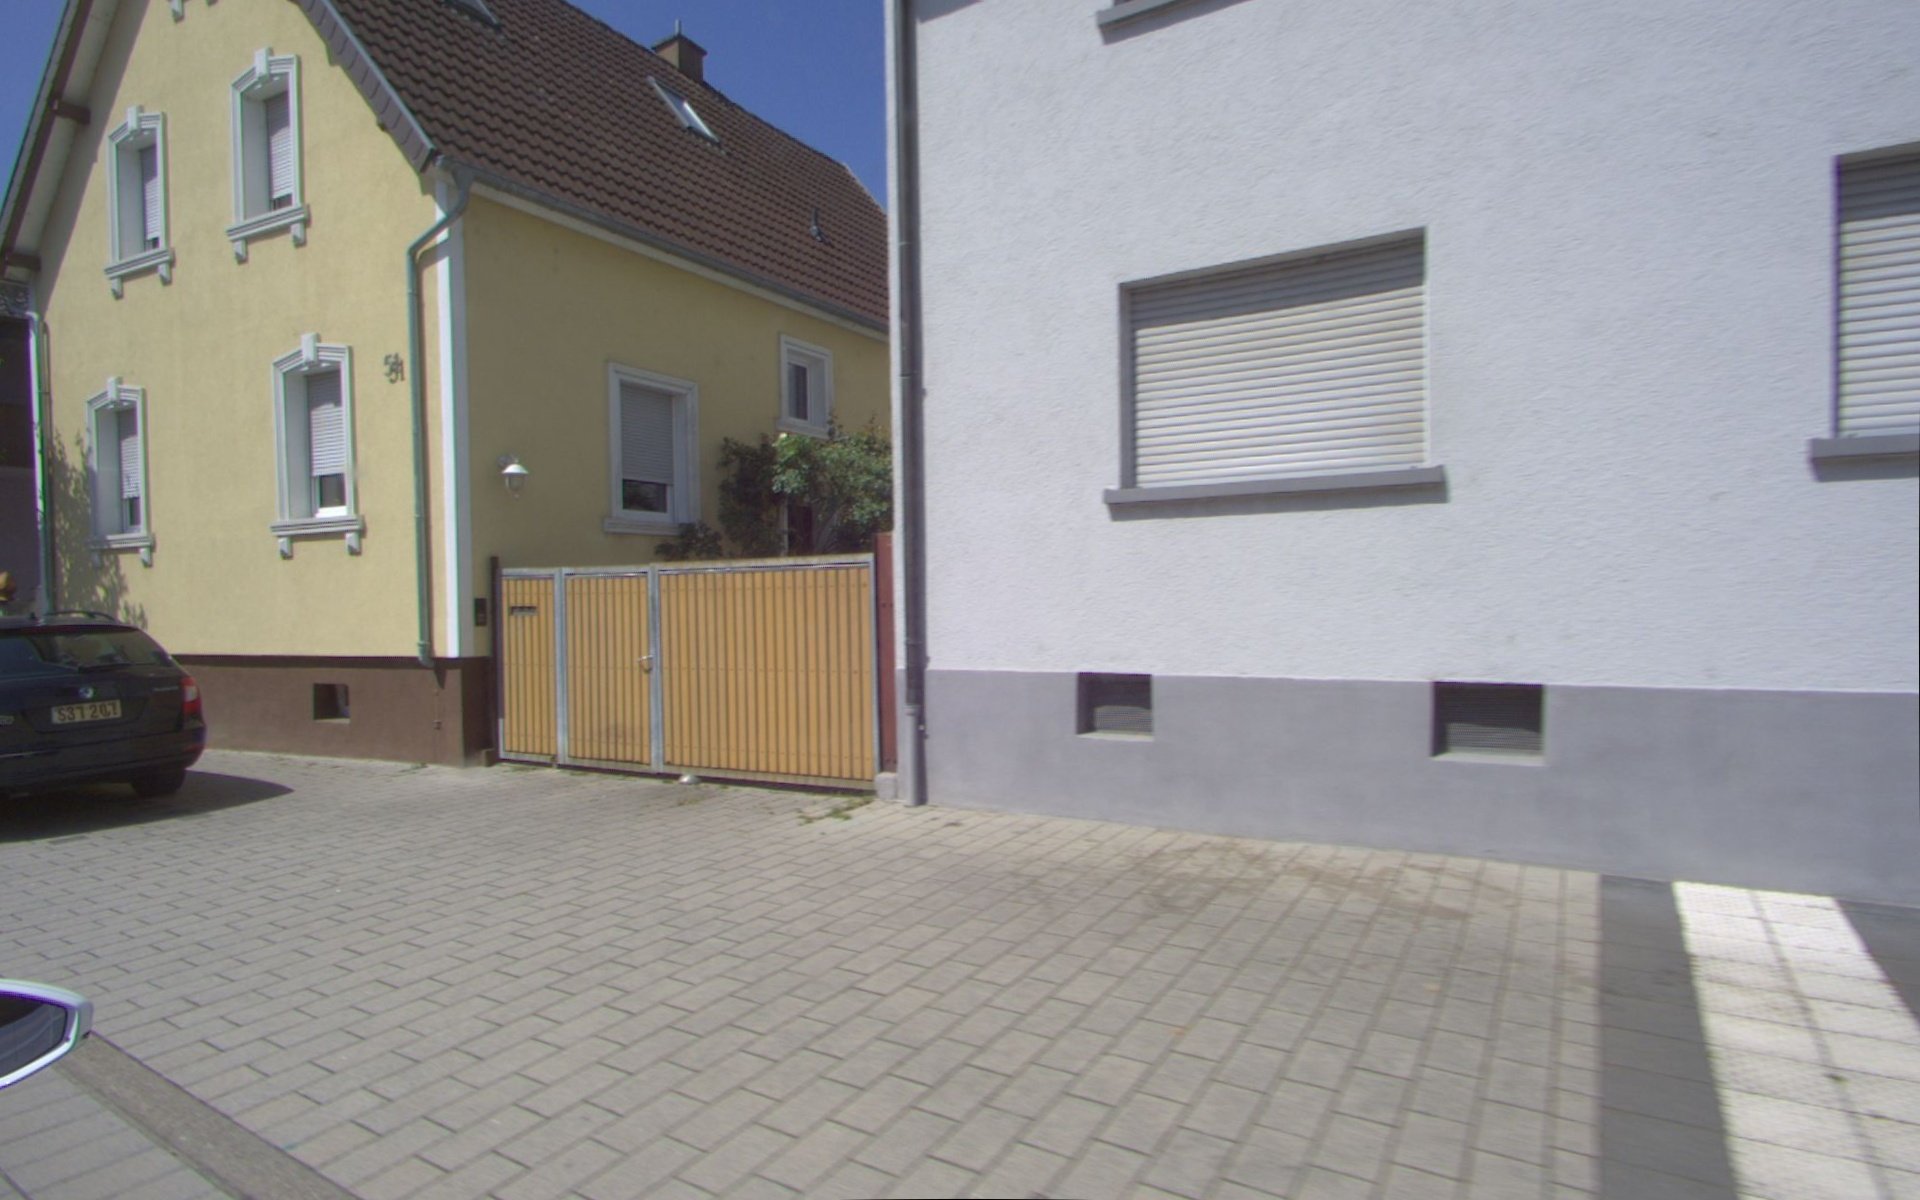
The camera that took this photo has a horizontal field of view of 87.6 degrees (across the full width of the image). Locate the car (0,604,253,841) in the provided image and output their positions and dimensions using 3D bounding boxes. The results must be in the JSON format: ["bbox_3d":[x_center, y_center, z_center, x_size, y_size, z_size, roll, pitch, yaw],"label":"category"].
[{"bbox_3d":[-7.816,0.852,8.046,4.212,1.491,1.826,-1,1,30],"label":"car"}]
